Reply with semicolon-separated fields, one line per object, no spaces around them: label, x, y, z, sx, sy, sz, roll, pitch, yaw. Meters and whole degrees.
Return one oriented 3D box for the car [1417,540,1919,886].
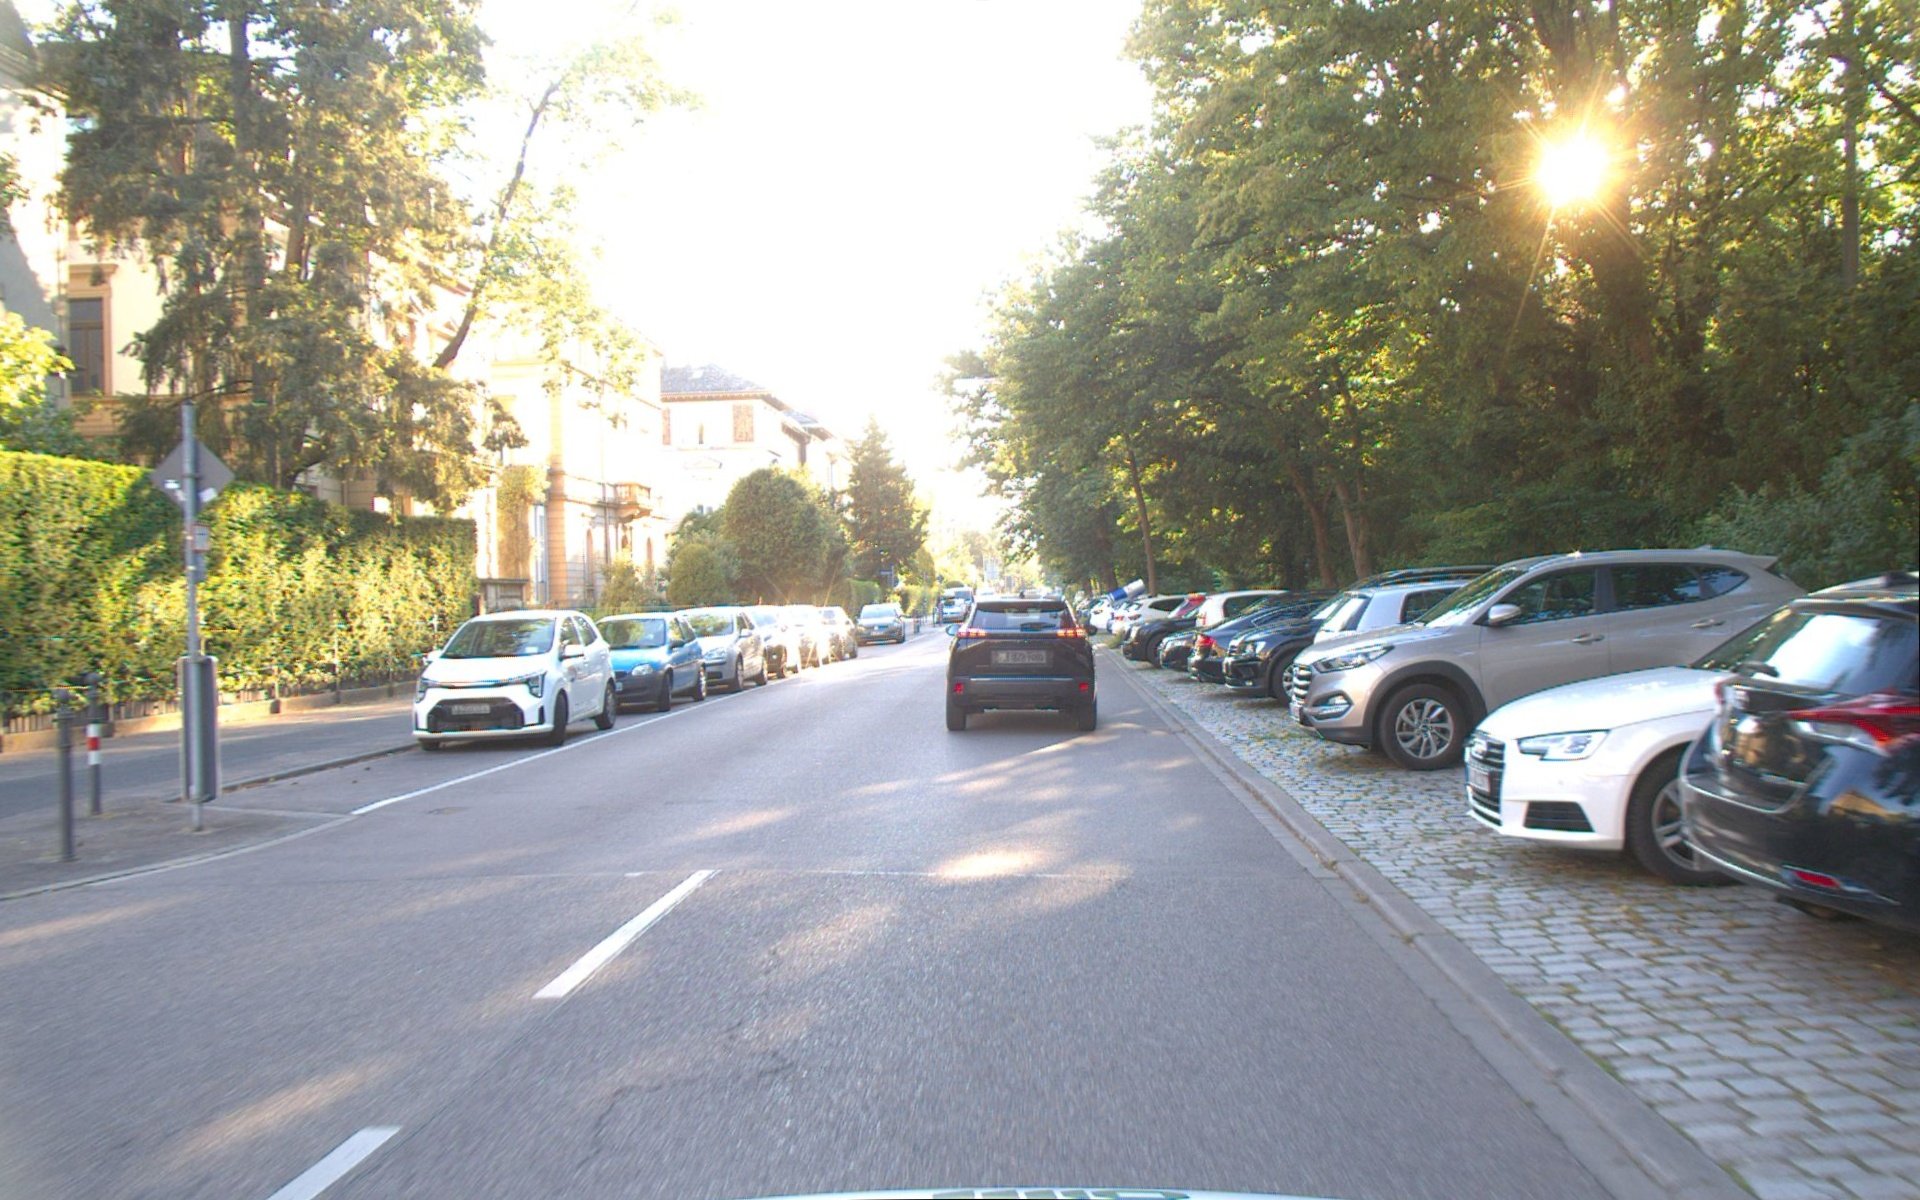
car;4.935;0.511;8.888;4.393;1.582;1.856;-2;-1;-1

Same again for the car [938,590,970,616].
car;-0.385;0.190;107.397;1.860;1.601;4.001;-1;0;2

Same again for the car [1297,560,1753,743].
car;5.455;0.486;16.353;3.904;1.581;1.726;-2;0;2

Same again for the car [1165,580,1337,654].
car;6.932;0.407;39.665;3.731;1.536;1.825;-3;0;-1

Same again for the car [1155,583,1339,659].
car;6.404;0.458;37.177;3.731;1.474;1.877;-3;0;-1

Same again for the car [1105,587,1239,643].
car;6.619;0.450;51.909;3.907;1.653;1.757;-1;0;-2

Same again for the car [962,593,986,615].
car;1.224;0.353;145.621;1.952;1.847;4.001;-1;0;2

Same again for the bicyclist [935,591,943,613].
bicyclist;-1.800;0.192;141.669;0.679;1.823;0.772;-1;0;0

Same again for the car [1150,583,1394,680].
car;5.454;0.547;29.352;4.069;1.474;1.732;-3;0;6

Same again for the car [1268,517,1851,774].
car;4.962;0.369;14.207;4.218;1.836;2.036;-3;0;2

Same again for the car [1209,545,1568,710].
car;5.493;0.351;21.638;4.157;1.820;1.884;-3;0;2

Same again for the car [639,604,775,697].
car;-4.489;0.858;29.843;1.580;1.492;4.037;-2;0;3

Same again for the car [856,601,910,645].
car;-2.850;0.828;61.849;1.716;1.438;3.765;-3;0;1

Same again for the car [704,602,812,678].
car;-4.277;0.818;35.616;1.580;1.492;4.037;-2;0;3

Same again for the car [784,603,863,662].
car;-3.732;0.876;45.799;1.580;1.492;4.037;-2;0;3

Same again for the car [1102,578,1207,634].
car;7.762;0.243;66.153;3.907;2.126;1.757;-1;0;-2

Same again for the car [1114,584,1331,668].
car;5.401;0.524;34.419;4.156;1.474;2.021;-3;0;0

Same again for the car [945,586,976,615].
car;0.056;0.028;117.984;1.952;2.049;4.002;-1;0;4

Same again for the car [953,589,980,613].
car;0.550;0.058;129.851;1.952;1.799;4.001;-1;0;2

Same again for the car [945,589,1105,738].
car;0.701;0.683;20.204;1.735;1.596;4.108;1;0;-1

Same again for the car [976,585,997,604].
car;2.722;-0.542;168.707;1.952;1.847;4.001;-1;0;2

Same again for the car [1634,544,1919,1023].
car;4.912;0.544;6.364;3.904;1.581;1.753;-2;1;2

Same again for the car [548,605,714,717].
car;-4.894;0.860;25.080;1.580;1.511;3.743;-2;0;2

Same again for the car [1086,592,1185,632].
car;7.297;0.498;68.968;3.907;1.552;1.757;-1;0;-2

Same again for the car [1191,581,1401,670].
car;6.372;0.471;31.698;3.727;1.474;1.827;-3;0;6

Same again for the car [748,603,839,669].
car;-4.076;0.852;41.026;1.580;1.492;4.037;-2;0;3

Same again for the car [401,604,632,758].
car;-5.093;0.868;19.470;1.580;1.541;3.712;-3;0;1

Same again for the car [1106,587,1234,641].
car;6.855;0.456;54.173;3.907;1.653;1.757;-1;0;-2

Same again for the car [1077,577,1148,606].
car;8.654;-0.508;94.086;3.903;1.552;1.759;-1;0;4

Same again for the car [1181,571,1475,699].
car;5.324;0.495;24.304;3.904;1.581;1.726;-3;0;2

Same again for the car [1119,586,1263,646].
car;6.473;0.444;46.642;3.731;1.474;1.825;-3;0;-1
